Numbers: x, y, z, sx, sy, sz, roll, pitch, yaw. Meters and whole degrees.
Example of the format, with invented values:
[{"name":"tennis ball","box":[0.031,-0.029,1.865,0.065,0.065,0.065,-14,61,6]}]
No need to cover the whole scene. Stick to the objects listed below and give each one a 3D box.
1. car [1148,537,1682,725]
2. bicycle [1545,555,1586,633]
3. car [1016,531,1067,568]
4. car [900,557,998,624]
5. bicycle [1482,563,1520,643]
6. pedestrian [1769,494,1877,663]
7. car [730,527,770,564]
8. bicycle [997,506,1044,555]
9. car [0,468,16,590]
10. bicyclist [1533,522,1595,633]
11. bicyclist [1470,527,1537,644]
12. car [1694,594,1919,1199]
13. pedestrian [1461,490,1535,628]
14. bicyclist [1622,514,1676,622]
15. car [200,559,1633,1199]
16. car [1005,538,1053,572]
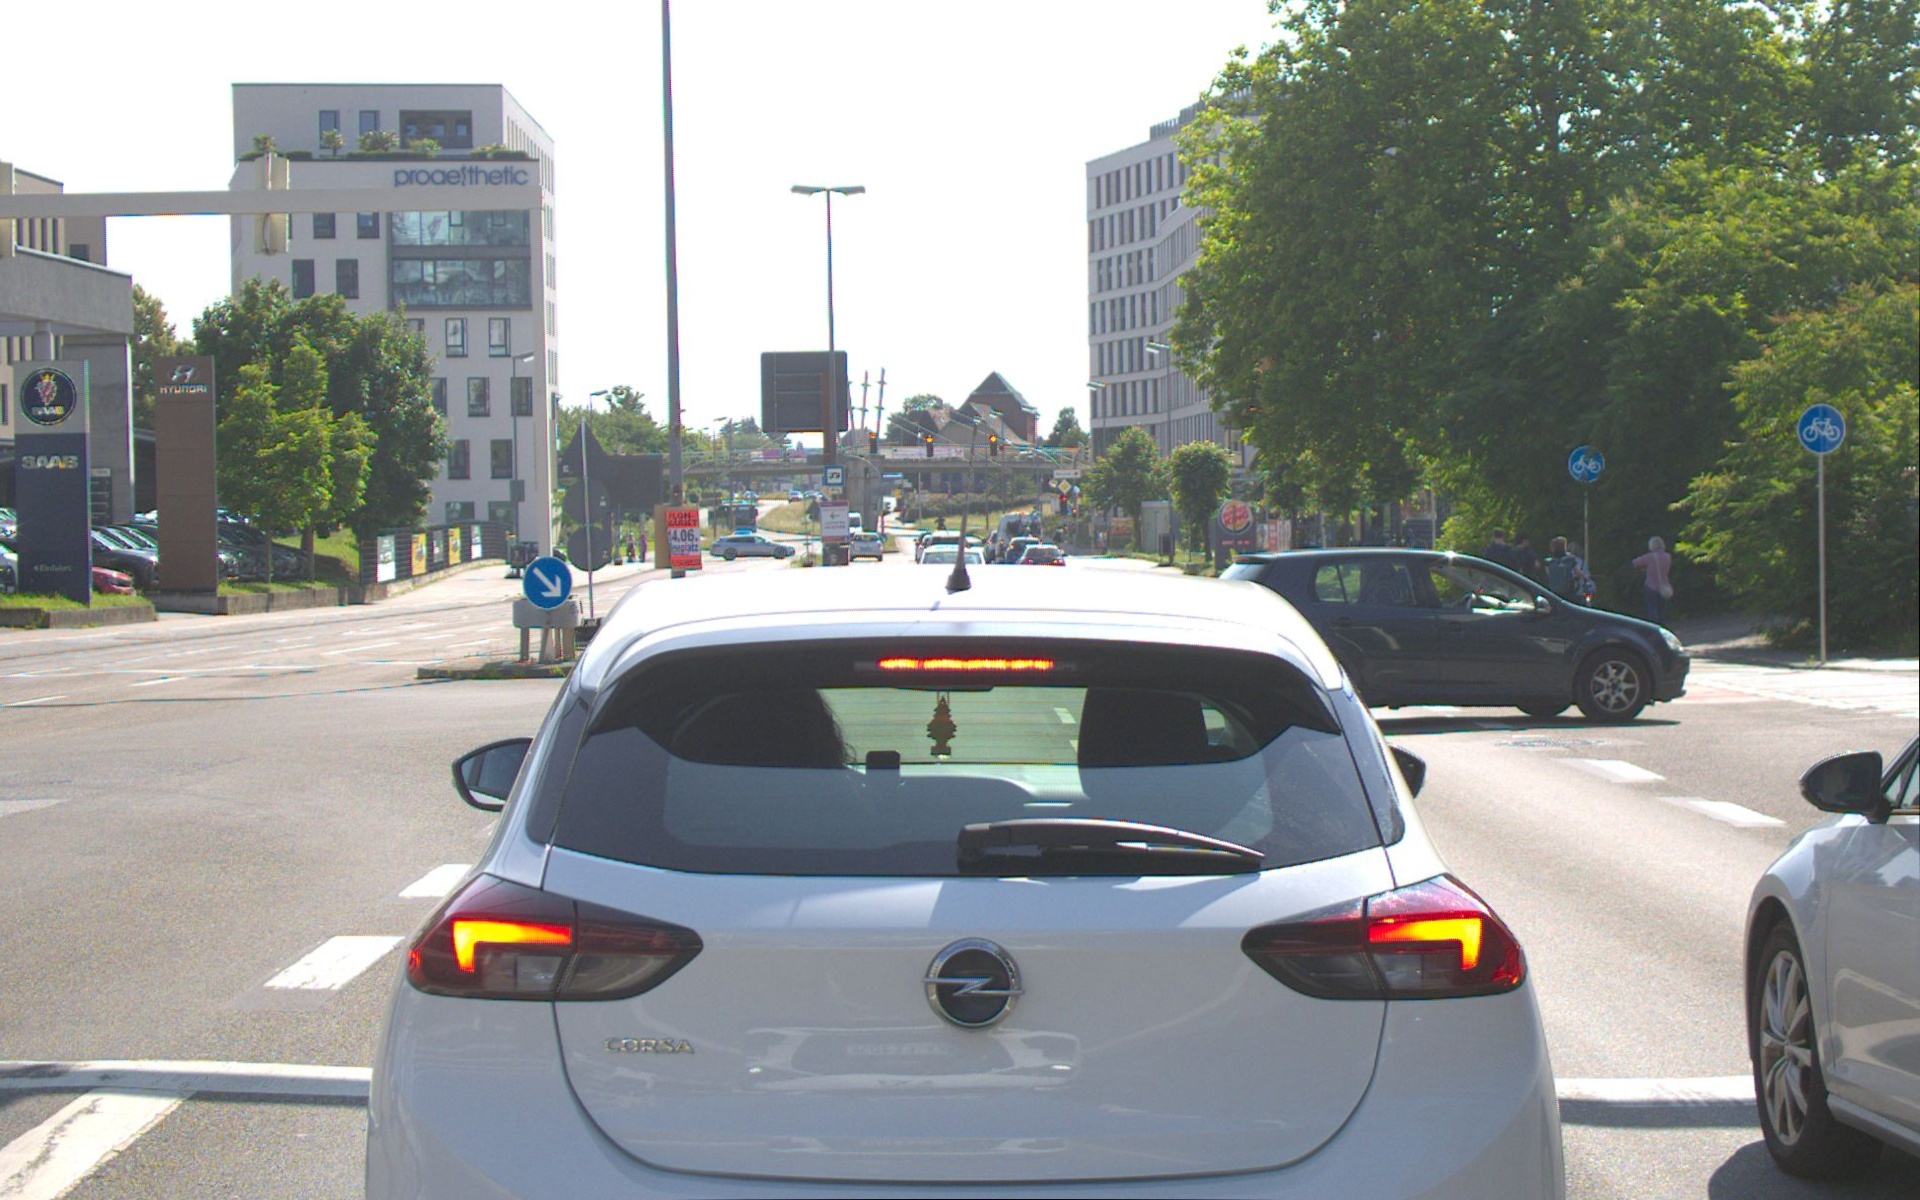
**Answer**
[{"name":"car","box":[3.722,0.227,28.536,3.986,1.437,2.001,-1,1,-8]},{"name":"bicycle","box":[9.043,-0.087,51.385,0.373,1.143,1.034,1,0,-3]},{"name":"car","box":[3.109,-1.936,132.123,1.806,1.381,4.000,1,0,-1]},{"name":"car","box":[-0.242,-0.206,72.343,1.993,1.327,4.000,1,0,0]},{"name":"bicycle","box":[8.298,0.039,52.795,0.372,1.212,1.154,1,1,-1]},{"name":"pedestrian","box":[10.471,-0.269,41.731,1.027,2.007,1.039,-1,1,-1]},{"name":"car","box":[-12.032,-3.125,197.388,1.993,2.007,4.000,-2,1,0]},{"name":"bicycle","box":[2.716,-3.134,155.525,1.993,2.150,4.000,-1,1,-1]},{"name":"car","box":[-22.556,-1.481,73.044,4.357,2.592,2.000,-1,1,5]},{"name":"bicyclist","box":[9.023,-0.344,51.378,0.688,1.637,0.777,-1,1,-9]},{"name":"bicyclist","box":[8.348,-0.230,52.816,0.879,1.766,0.864,-1,1,0]},{"name":"car","box":[2.852,0.711,6.858,1.807,1.424,4.000,-1,1,-2]},{"name":"pedestrian","box":[8.859,-0.679,56.606,1.027,2.231,1.039,-1,1,-1]},{"name":"bicyclist","box":[10.442,-0.484,52.125,0.652,1.631,0.659,1,0,0]},{"name":"car","box":[-0.076,0.693,6.295,1.779,1.489,4.000,-1,1,-1]},{"name":"car","box":[2.853,-1.854,142.626,1.806,1.381,4.000,1,0,-1]}]
